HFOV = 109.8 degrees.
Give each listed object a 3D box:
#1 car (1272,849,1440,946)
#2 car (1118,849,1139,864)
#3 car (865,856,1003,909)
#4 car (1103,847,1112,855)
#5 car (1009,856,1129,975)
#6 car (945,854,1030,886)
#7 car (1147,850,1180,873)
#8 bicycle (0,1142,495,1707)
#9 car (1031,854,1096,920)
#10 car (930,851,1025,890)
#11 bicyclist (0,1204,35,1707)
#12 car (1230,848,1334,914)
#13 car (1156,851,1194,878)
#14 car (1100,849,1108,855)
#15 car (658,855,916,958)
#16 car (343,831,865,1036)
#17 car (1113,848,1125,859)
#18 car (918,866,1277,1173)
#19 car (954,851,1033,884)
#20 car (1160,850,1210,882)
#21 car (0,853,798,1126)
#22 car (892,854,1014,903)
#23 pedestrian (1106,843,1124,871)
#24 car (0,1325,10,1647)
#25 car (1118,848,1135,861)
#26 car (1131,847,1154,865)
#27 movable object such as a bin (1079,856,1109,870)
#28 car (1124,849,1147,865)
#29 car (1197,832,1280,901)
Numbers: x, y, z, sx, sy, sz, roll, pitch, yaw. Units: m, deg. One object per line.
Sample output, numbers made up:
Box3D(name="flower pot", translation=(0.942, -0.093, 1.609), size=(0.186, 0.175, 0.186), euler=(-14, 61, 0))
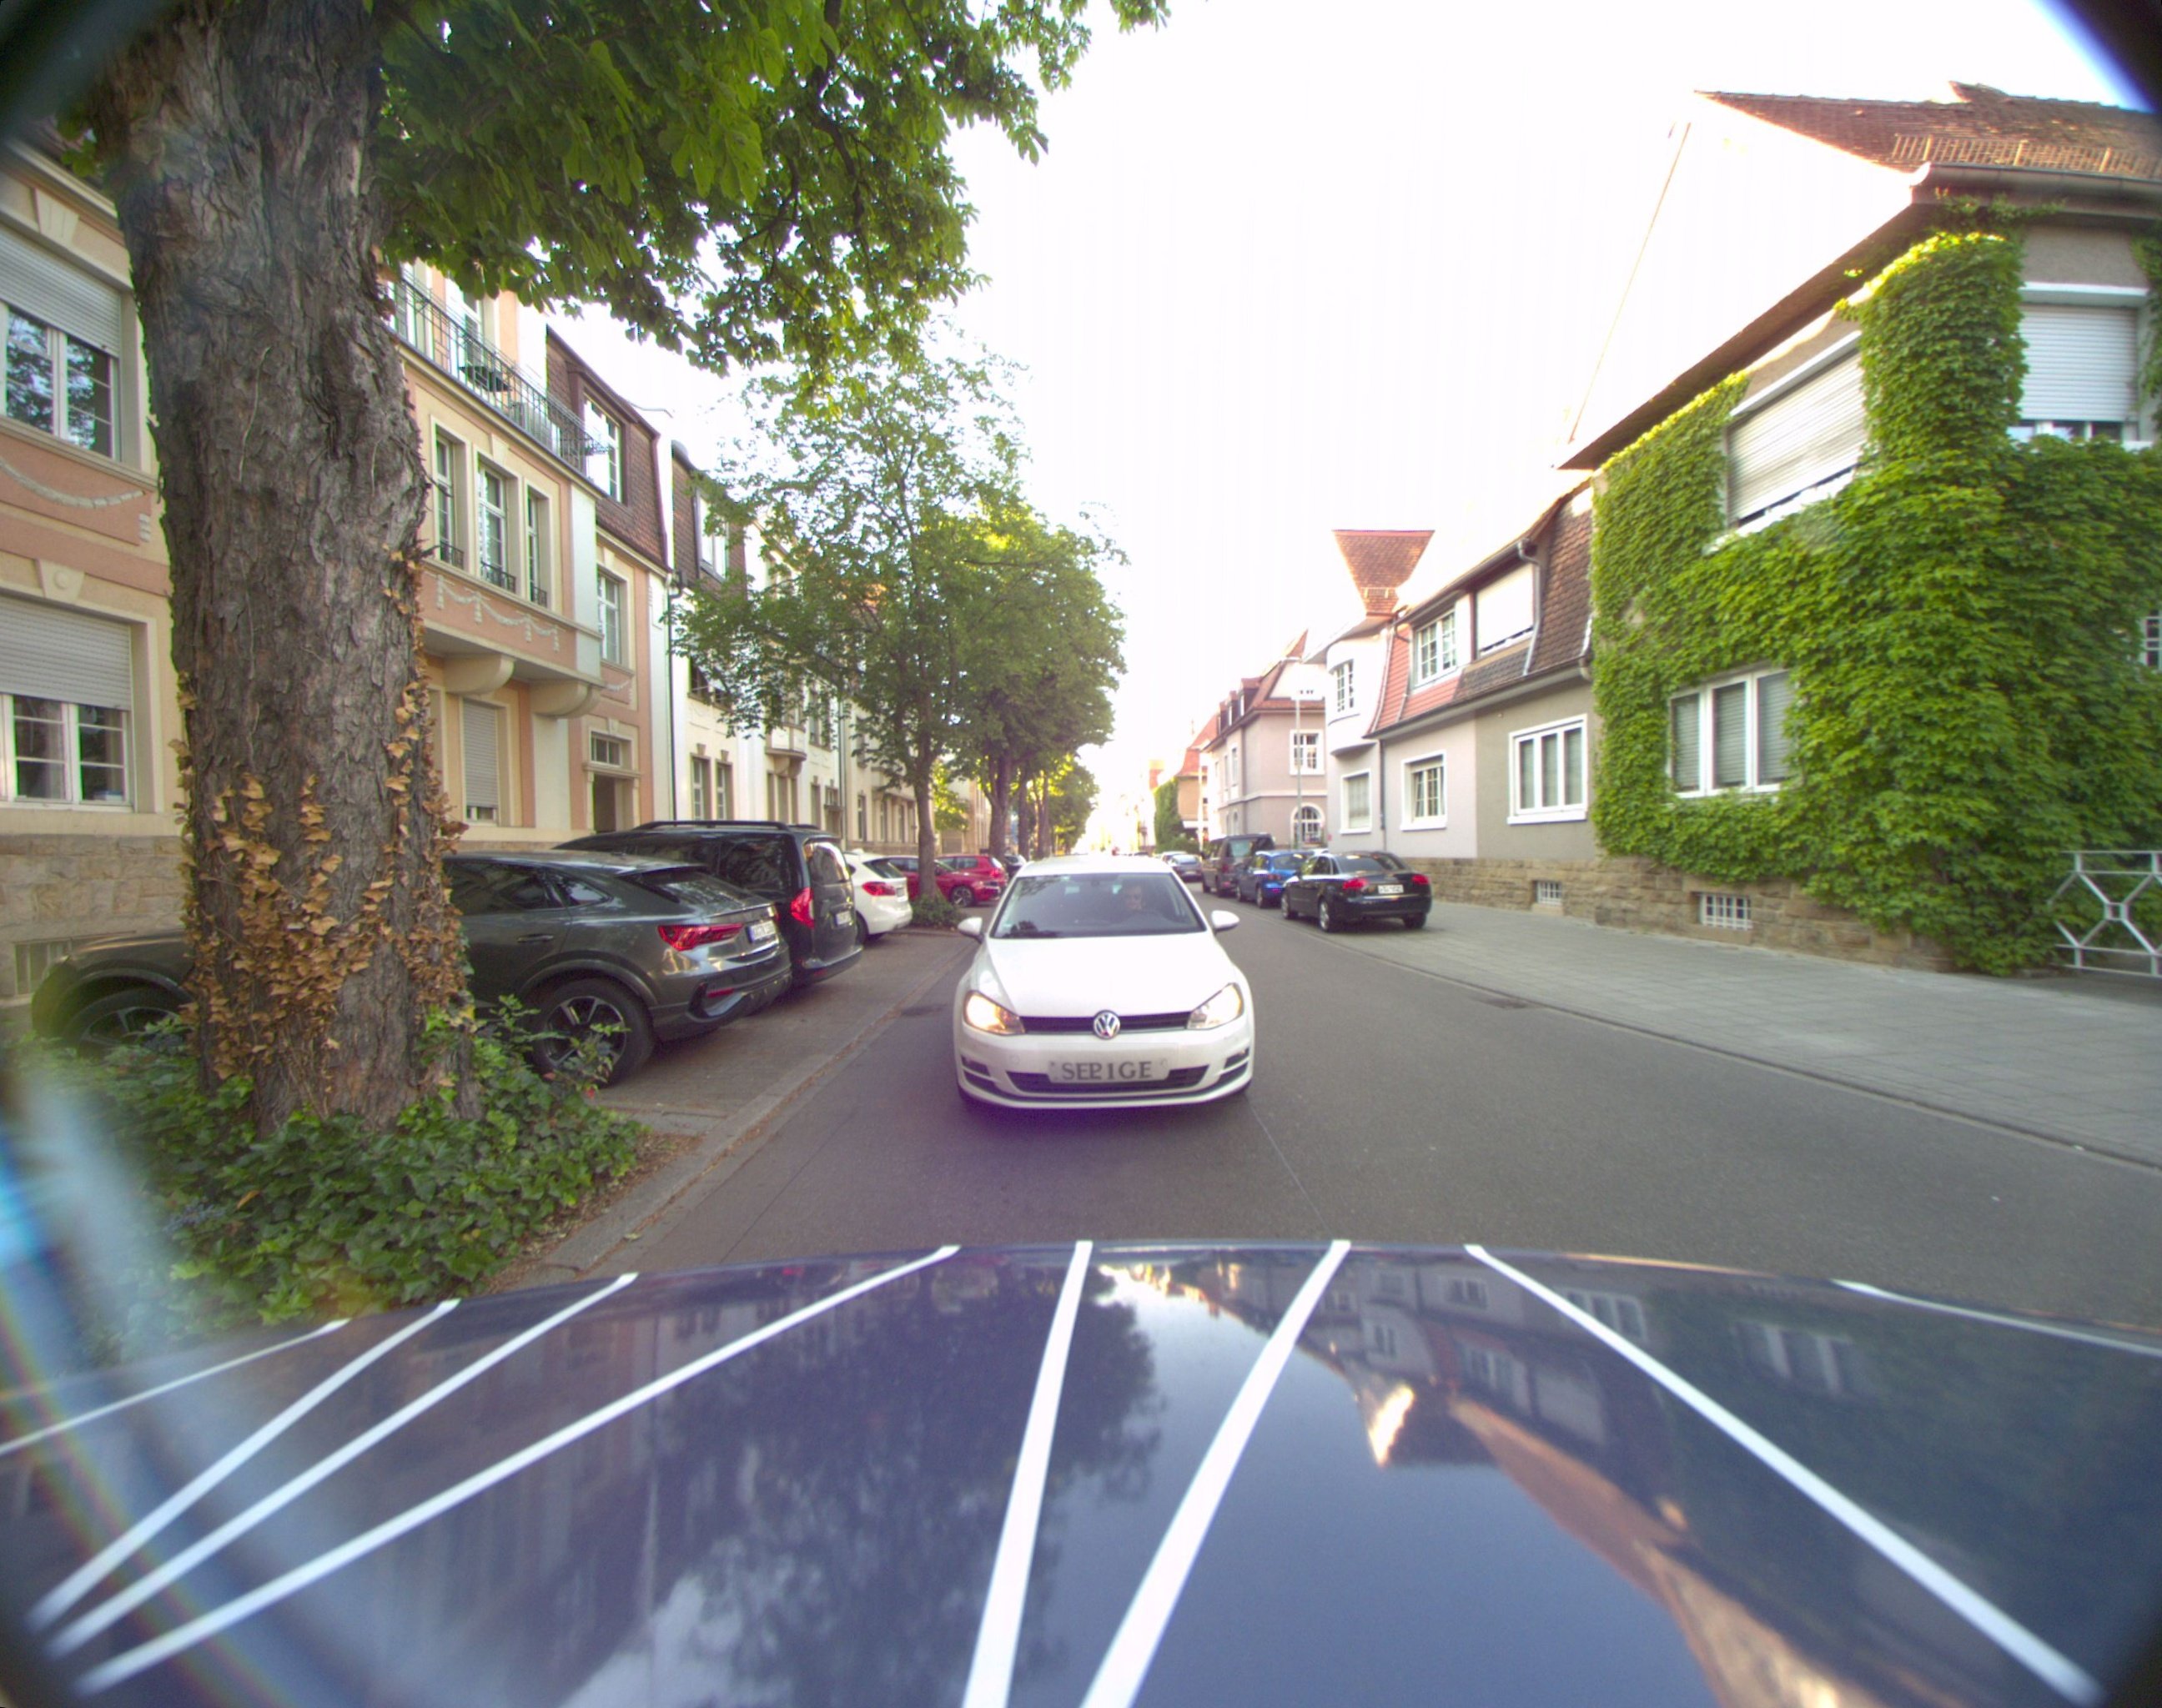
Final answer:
Box3D(name="car", translation=(5.023, 0.710, 14.488), size=(1.751, 1.421, 4.023), euler=(-4, 1, 1))
Box3D(name="car", translation=(4.986, 0.234, 80.600), size=(1.643, 1.461, 3.688), euler=(-3, 0, -4))
Box3D(name="car", translation=(-4.129, 0.789, 21.737), size=(3.622, 1.395, 1.537), euler=(1, 1, 0))
Box3D(name="car", translation=(5.245, -0.548, 149.361), size=(1.643, 1.461, 3.689), euler=(-3, 0, 0))
Box3D(name="car", translation=(-0.138, 0.837, 12.236), size=(1.600, 1.546, 4.000), euler=(1, 0, 1))
Box3D(name="car", translation=(-4.152, 0.720, 34.230), size=(3.622, 1.395, 1.537), euler=(0, 1, 0))
Box3D(name="car", translation=(5.446, 0.460, 50.631), size=(1.719, 1.363, 3.945), euler=(-3, 0, 0))
Box3D(name="bicycle", translation=(-1.526, 1.117, 0.444), size=(0.744, 1.111, 2.013), euler=(-2, 0, 1))
Box3D(name="car", translation=(-0.408, 0.798, 20.289), size=(1.560, 1.546, 3.738), euler=(1, 0, 1))
Box3D(name="car", translation=(-4.171, 0.664, 30.946), size=(3.622, 1.555, 1.537), euler=(0, 1, 0))
Box3D(name="bicyclist", translation=(-1.544, 0.834, 0.462), size=(0.648, 1.765, 0.830), euler=(-2, 1, 1))
Box3D(name="car", translation=(5.255, 0.633, 20.369), size=(1.611, 1.455, 4.023), euler=(-4, 1, 0))
Box3D(name="car", translation=(5.156, 0.537, 42.195), size=(1.541, 1.363, 3.945), euler=(-3, 0, 0))
Box3D(name="car", translation=(5.162, -0.475, 173.341), size=(1.643, 1.461, 3.689), euler=(-3, 0, 0))
Box3D(name="car", translation=(-4.642, 0.816, 12.398), size=(3.623, 1.541, 1.537), euler=(1, 1, -4))
Box3D(name="car", translation=(-4.482, 0.709, 7.659), size=(4.173, 1.816, 1.594), euler=(1, 1, -4))
Box3D(name="car", translation=(5.748, -0.083, 115.725), size=(1.643, 1.461, 3.689), euler=(-3, 0, 0))
Box3D(name="car", translation=(0.051, 0.886, 5.932), size=(1.799, 1.420, 4.023), euler=(-2, 0, -1))
Box3D(name="car", translation=(-4.199, 0.639, 36.855), size=(3.622, 1.555, 1.537), euler=(0, 1, 0))
Box3D(name="car", translation=(4.982, 0.553, 36.886), size=(1.719, 1.363, 4.334), euler=(-3, 0, 0))
Box3D(name="car", translation=(-4.401, 0.823, 5.412), size=(4.173, 1.583, 1.594), euler=(1, 1, -4))
Box3D(name="car", translation=(-4.044, 0.763, 24.342), size=(3.622, 1.456, 1.537), euler=(1, 1, 0))
Box3D(name="pedestrian", translation=(2.465, 0.186, 55.022), size=(1.189, 2.002, 0.931), euler=(1, 1, -2))
Box3D(name="car", translation=(-4.666, 0.794, 0.517), size=(4.835, 1.814, 1.880), euler=(1, 1, -4))
Box3D(name="car", translation=(5.451, 0.032, 91.234), size=(1.643, 1.461, 3.689), euler=(-3, 0, -1))
Box3D(name="car", translation=(5.493, 0.137, 68.252), size=(1.643, 1.461, 3.945), euler=(-3, 0, 0))
Box3D(name="movable object such as a bin", translation=(0.913, 0.616, 54.468), size=(1.945, 0.943, 1.431), euler=(1, 0, -10))
Box3D(name="car", translation=(5.408, 0.259, 75.468), size=(1.643, 1.461, 3.688), euler=(-3, 0, -4))
Box3D(name="car", translation=(5.133, 0.348, 25.271), size=(1.719, 1.961, 4.310), euler=(-4, 1, 0))
